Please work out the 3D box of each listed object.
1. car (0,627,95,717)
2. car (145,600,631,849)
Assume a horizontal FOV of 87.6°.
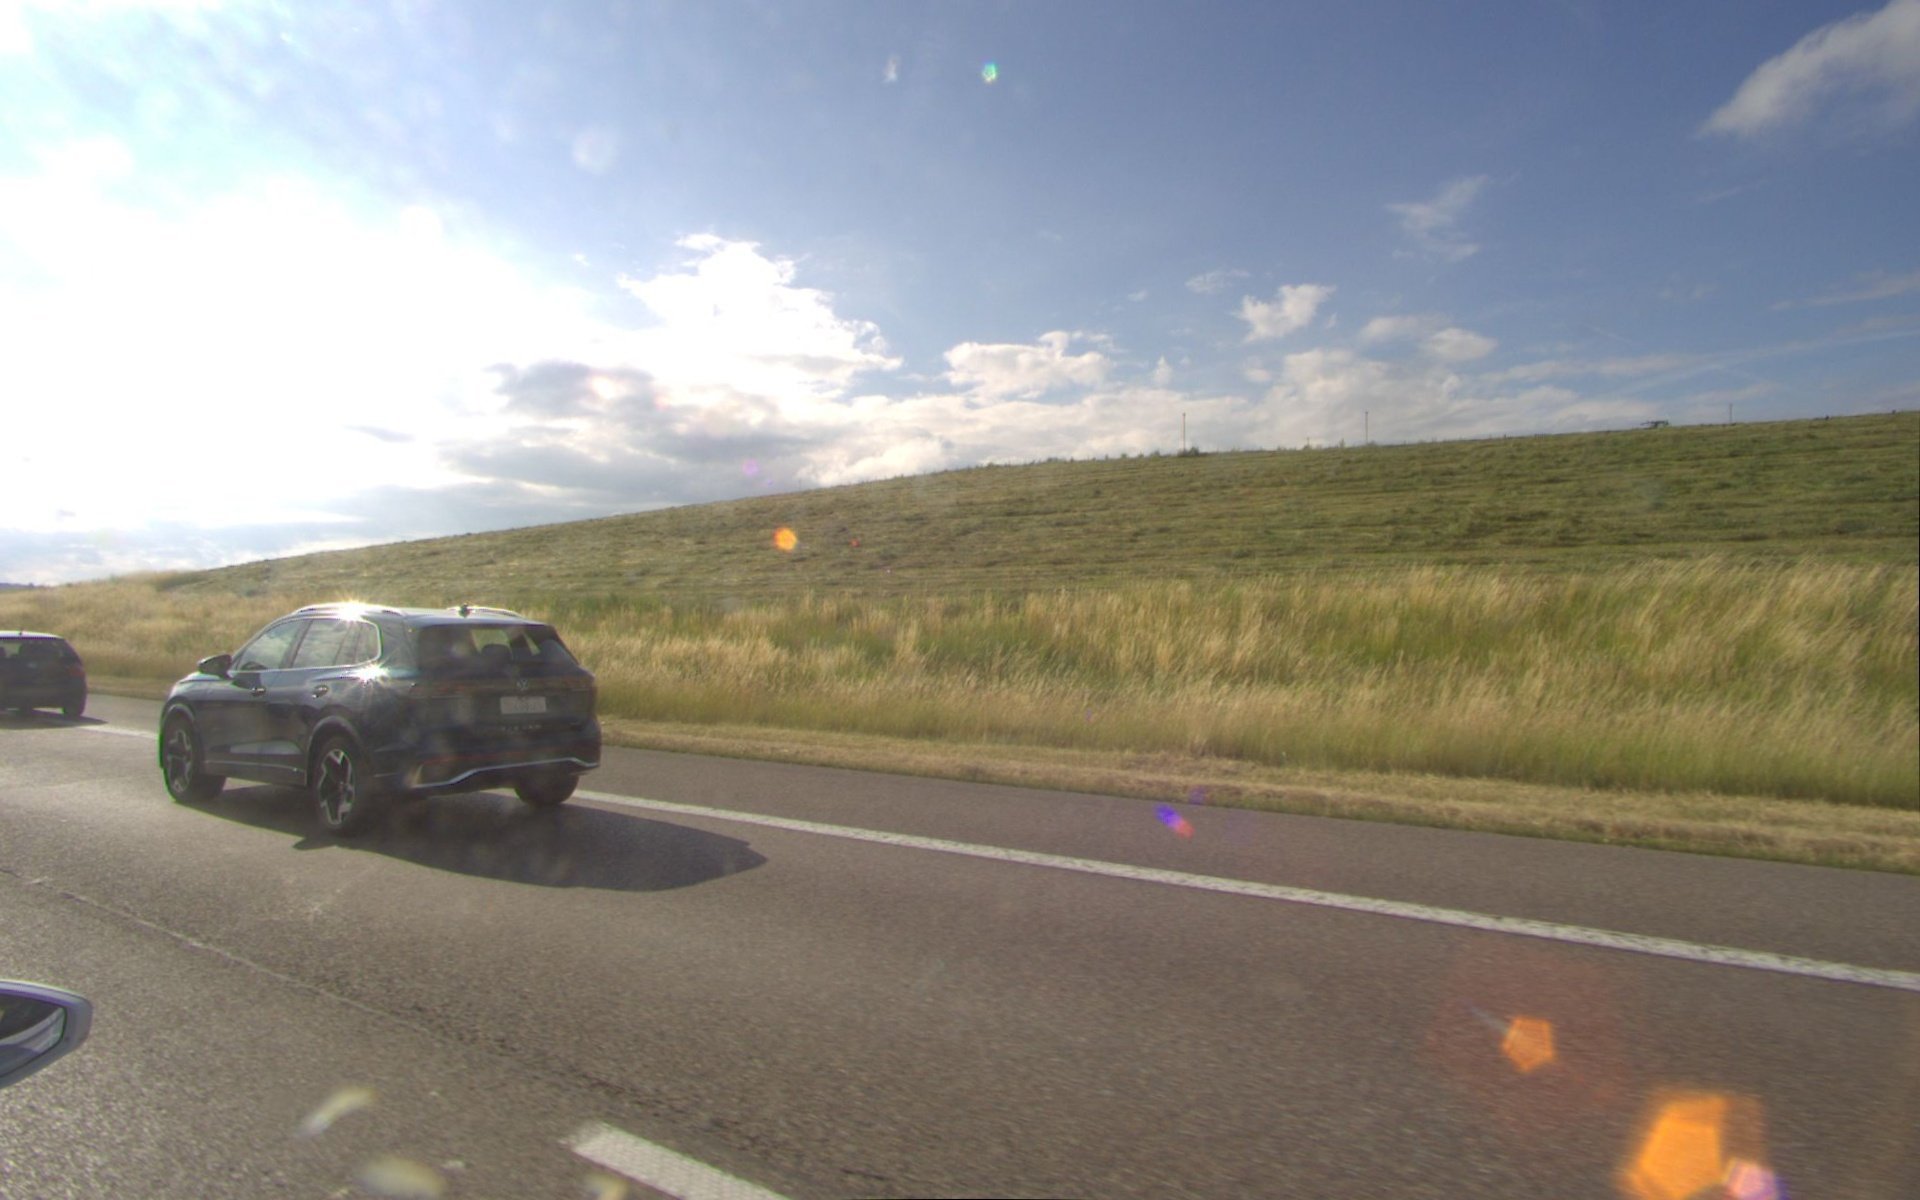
[{"bbox_3d":[-16.558,1.187,17.268,3.621,1.438,1.602,-1,-1,34],"label":"car"},{"bbox_3d":[-4.910,0.894,8.452,4.175,1.621,1.818,-1,-3,33],"label":"car"}]
